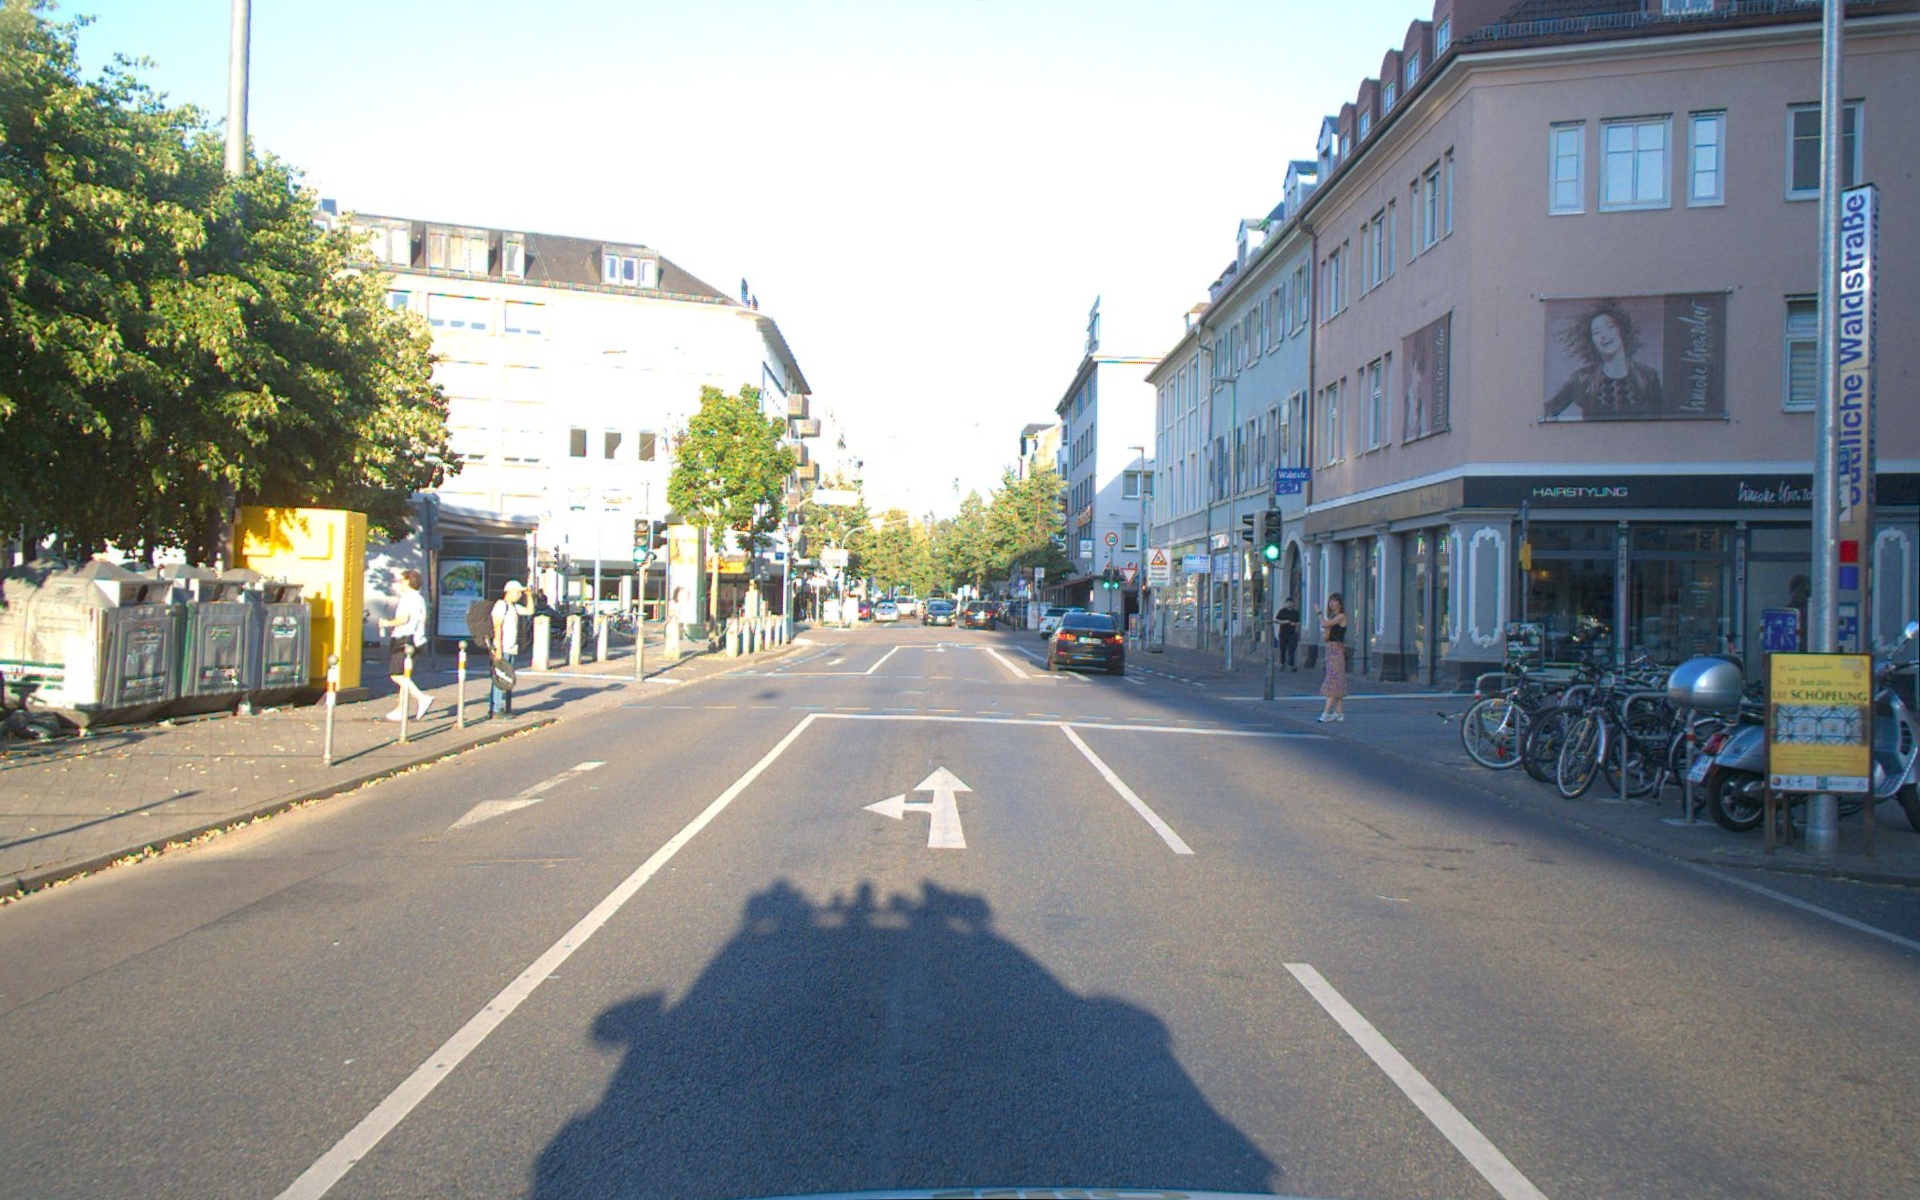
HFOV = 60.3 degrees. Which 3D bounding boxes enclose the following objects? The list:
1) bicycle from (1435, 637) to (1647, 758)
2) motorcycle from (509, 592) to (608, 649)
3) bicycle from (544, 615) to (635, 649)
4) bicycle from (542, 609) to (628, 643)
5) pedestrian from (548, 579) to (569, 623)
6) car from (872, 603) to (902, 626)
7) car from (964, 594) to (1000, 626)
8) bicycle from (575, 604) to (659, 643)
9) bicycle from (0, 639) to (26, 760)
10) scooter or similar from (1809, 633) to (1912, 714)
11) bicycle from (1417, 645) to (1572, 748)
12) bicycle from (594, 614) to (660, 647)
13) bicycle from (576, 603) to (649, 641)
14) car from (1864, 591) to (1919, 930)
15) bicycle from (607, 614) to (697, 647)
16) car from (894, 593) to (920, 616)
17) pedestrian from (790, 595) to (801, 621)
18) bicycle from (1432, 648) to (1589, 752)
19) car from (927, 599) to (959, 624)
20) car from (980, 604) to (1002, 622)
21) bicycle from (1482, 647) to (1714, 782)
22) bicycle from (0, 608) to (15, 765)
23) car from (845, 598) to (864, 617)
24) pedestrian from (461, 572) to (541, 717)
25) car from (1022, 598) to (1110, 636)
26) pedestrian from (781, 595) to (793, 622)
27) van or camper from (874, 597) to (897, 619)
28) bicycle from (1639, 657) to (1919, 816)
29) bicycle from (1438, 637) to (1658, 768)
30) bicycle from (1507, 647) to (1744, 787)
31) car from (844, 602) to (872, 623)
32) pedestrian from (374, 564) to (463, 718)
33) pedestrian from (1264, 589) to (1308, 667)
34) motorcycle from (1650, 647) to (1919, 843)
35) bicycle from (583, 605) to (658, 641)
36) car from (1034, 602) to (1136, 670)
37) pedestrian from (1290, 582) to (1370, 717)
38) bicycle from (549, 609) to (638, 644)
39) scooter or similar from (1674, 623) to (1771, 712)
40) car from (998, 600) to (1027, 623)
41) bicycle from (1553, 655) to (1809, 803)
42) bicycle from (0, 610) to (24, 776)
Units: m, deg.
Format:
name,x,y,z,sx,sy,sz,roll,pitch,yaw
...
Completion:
name,x,y,z,sx,sy,sz,roll,pitch,yaw
bicycle,5.821,0.968,16.627,1.847,1.132,0.761,2,0,-4
motorcycle,-10.687,0.547,44.099,2.364,1.451,1.112,1,0,-2
bicycle,-10.821,0.936,48.358,2.473,0.935,0.700,1,0,-3
bicycle,-10.725,0.751,47.368,2.281,0.935,0.700,1,0,-3
pedestrian,-14.856,0.041,61.221,0.543,1.639,0.635,1,-1,-35
car,-5.230,1.029,119.221,1.855,1.624,4.000,1,0,1
car,1.236,0.564,95.918,1.953,1.780,4.000,1,0,0
bicycle,-10.803,0.736,52.157,2.473,1.166,0.700,1,-1,-3
bicycle,-8.993,0.781,13.761,2.002,0.988,0.635,3,0,-3
scooter or similar,13.944,1.125,25.622,1.288,1.184,0.509,2,-1,11
bicycle,5.716,1.028,17.716,1.470,1.033,0.512,2,0,-3
bicycle,-11.203,1.018,55.628,2.049,1.082,0.681,1,-1,0
bicycle,-11.196,0.709,53.365,2.191,1.155,0.811,1,0,-3
car,5.691,0.788,6.109,1.953,1.641,4.801,1,0,-2
bicycle,-10.514,1.034,56.512,2.881,1.040,0.843,1,0,2
car,-4.438,0.365,138.000,1.952,1.780,4.000,1,0,1
pedestrian,-11.001,0.531,110.666,0.590,1.751,0.575,2,0,-15
bicycle,5.726,1.035,17.227,1.471,1.044,0.512,0,0,-5
car,-1.043,0.695,104.411,1.846,1.512,4.000,1,0,1
car,2.820,1.172,150.621,1.745,1.624,3.632,2,0,-4
bicycle,5.720,1.019,14.863,1.846,1.132,0.601,2,0,-4
bicycle,-8.895,0.665,13.177,2.382,1.259,0.462,2,0,-3
car,-11.397,0.825,179.035,1.790,2.049,3.676,1,0,1
pedestrian,-5.655,0.542,20.412,0.866,1.750,0.713,2,0,-12
car,4.834,0.780,75.088,2.294,1.632,3.880,1,0,35
pedestrian,-11.379,0.525,108.518,0.670,1.751,0.702,1,0,0
van or camper,-8.520,0.903,189.583,2.424,2.447,3.996,2,0,-4
bicycle,6.117,1.007,12.379,1.847,1.132,0.593,0,0,-4
bicycle,5.606,0.970,15.815,1.847,1.188,0.722,1,0,-4
bicycle,5.748,1.002,14.324,1.847,1.132,0.521,2,0,-4
car,-8.098,0.997,131.693,1.855,1.624,4.000,1,0,1
pedestrian,-6.323,0.475,19.300,0.858,1.750,0.753,2,0,-26
pedestrian,7.758,0.660,39.403,0.742,1.808,1.047,1,0,-5
motorcycle,5.830,0.982,11.494,1.776,1.285,0.715,0,0,-3
bicycle,-11.130,0.744,54.283,2.275,1.151,0.800,1,0,1
car,2.976,0.821,40.115,1.851,1.518,4.201,1,0,-4
pedestrian,4.927,0.646,22.055,0.779,1.750,0.810,1,0,-8
bicycle,-10.952,0.789,49.476,2.473,1.015,0.933,1,0,-3
scooter or similar,11.674,1.023,25.352,1.290,1.286,0.524,1,-1,21
car,3.894,0.863,123.114,1.953,1.645,4.000,1,0,0
bicycle,5.864,1.041,13.493,1.847,1.132,0.593,2,-2,-4
bicycle,-8.466,0.658,12.501,2.382,1.259,0.517,3,0,-3
